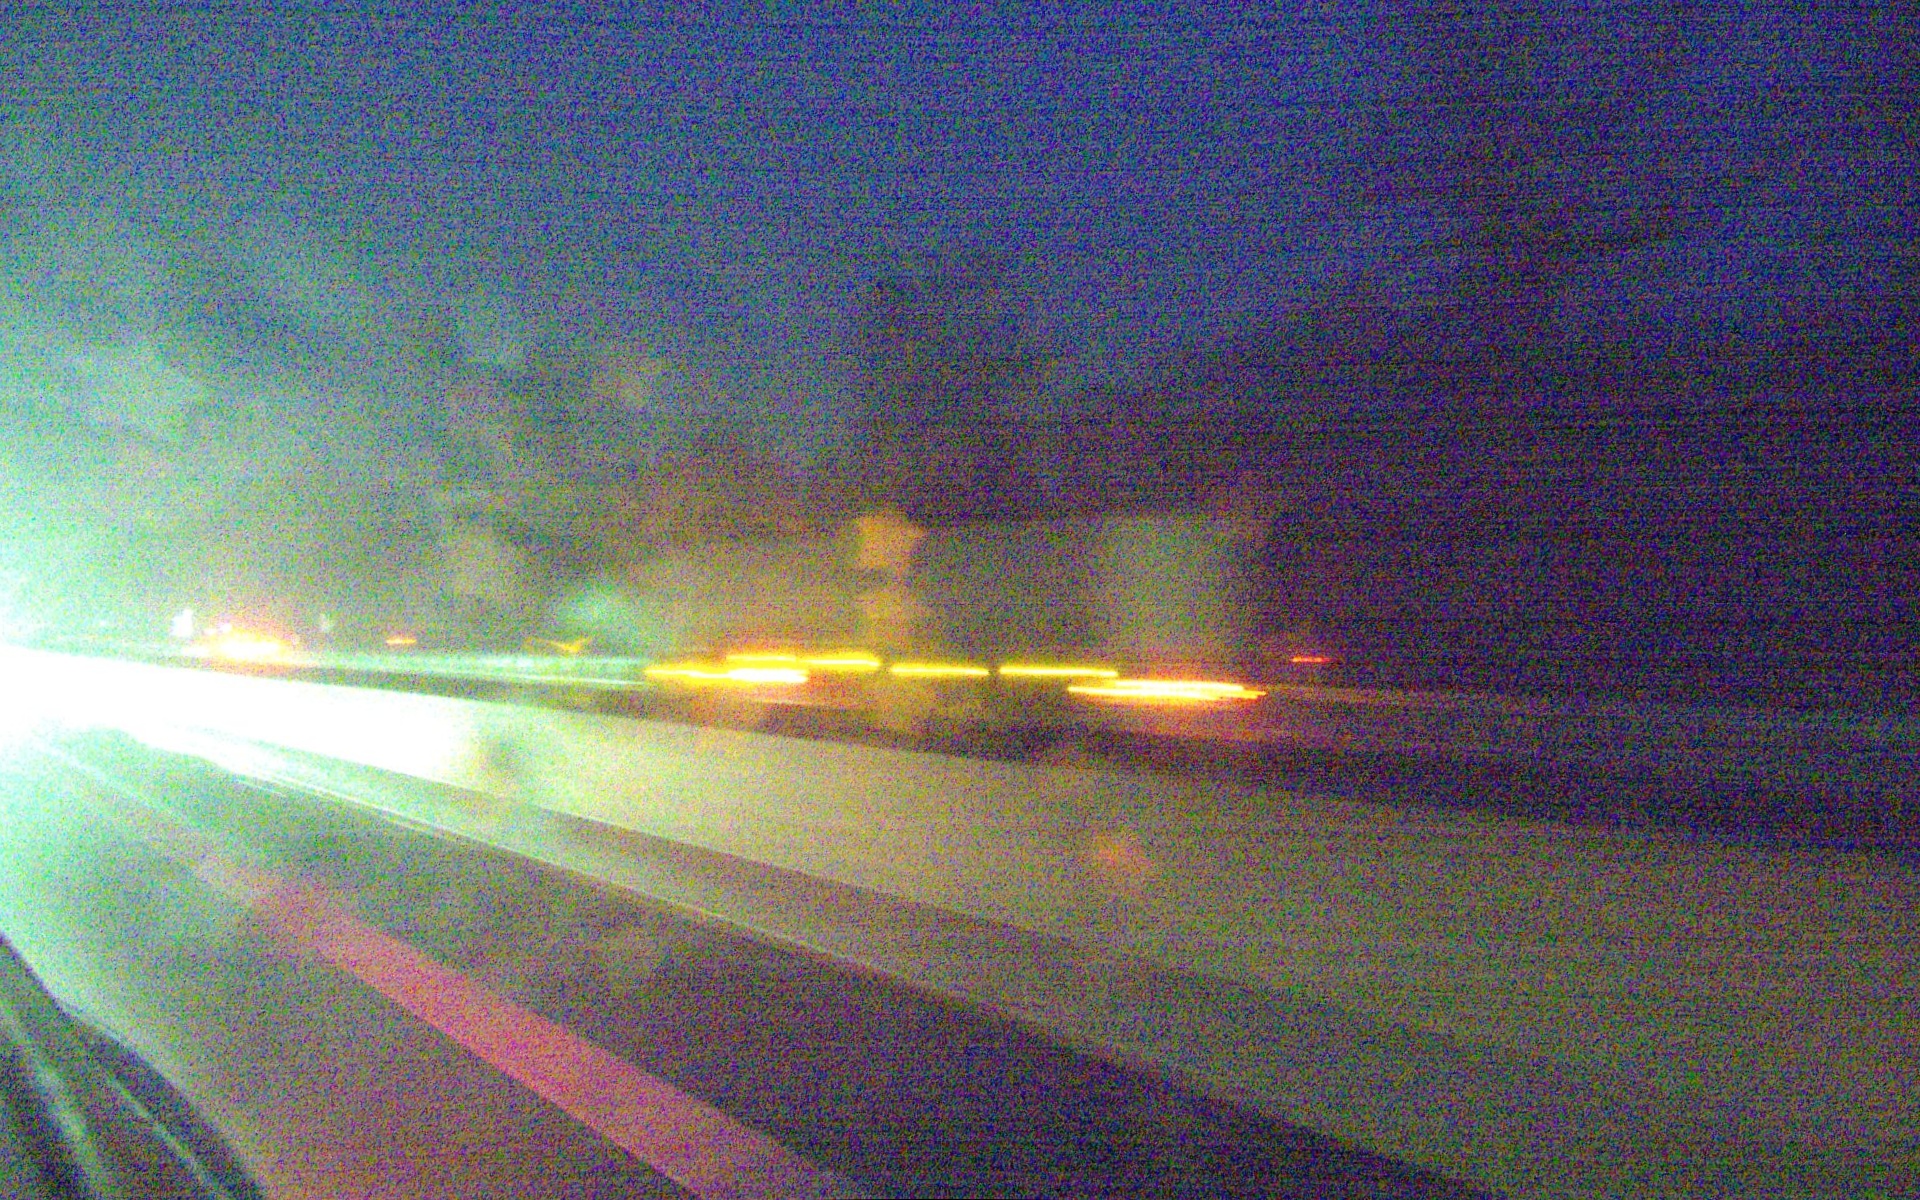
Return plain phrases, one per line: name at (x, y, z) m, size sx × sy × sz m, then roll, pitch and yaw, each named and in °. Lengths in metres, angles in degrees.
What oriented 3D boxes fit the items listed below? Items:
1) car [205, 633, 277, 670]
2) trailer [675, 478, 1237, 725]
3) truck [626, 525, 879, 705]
car at (-32.909, 2.329, 46.296) m, size 3.971 × 1.586 × 1.778 m, roll -1°, pitch -2°, yaw 41°
trailer at (-1.080, 0.236, 22.677) m, size 14.214 × 4.126 × 2.936 m, roll -2°, pitch -3°, yaw 41°
truck at (-5.605, 0.466, 26.630) m, size 6.990 × 4.126 × 2.890 m, roll -2°, pitch -3°, yaw 41°
